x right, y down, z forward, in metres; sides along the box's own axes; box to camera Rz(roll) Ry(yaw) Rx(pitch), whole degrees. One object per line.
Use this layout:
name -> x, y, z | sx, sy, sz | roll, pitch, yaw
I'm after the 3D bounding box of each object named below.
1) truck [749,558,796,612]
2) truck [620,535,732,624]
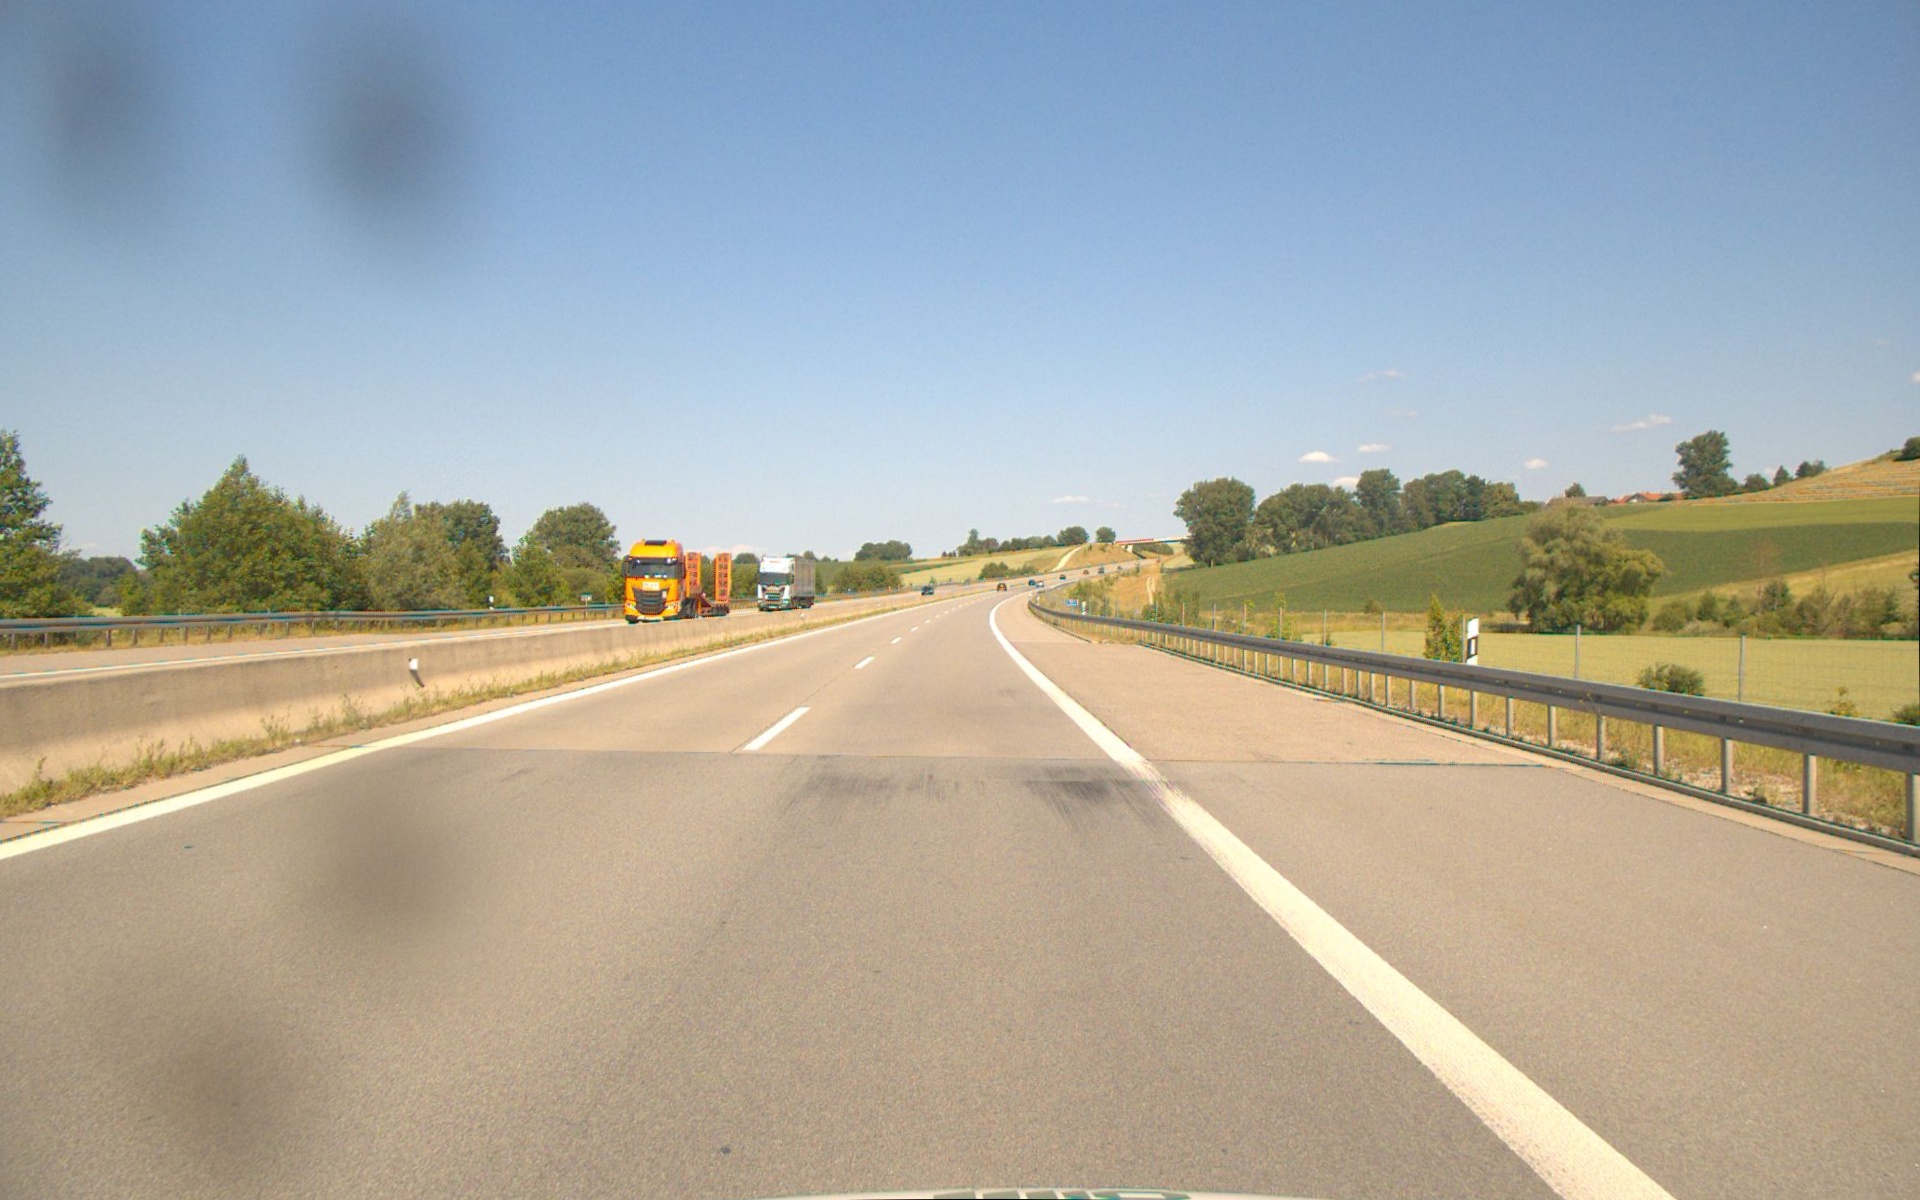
truck -> -14.148, -1.133, 125.135 | 2.802, 3.941, 5.984 | 0, 0, 1
truck -> -14.176, -0.956, 84.261 | 2.809, 4.086, 17.114 | 0, 0, 0
